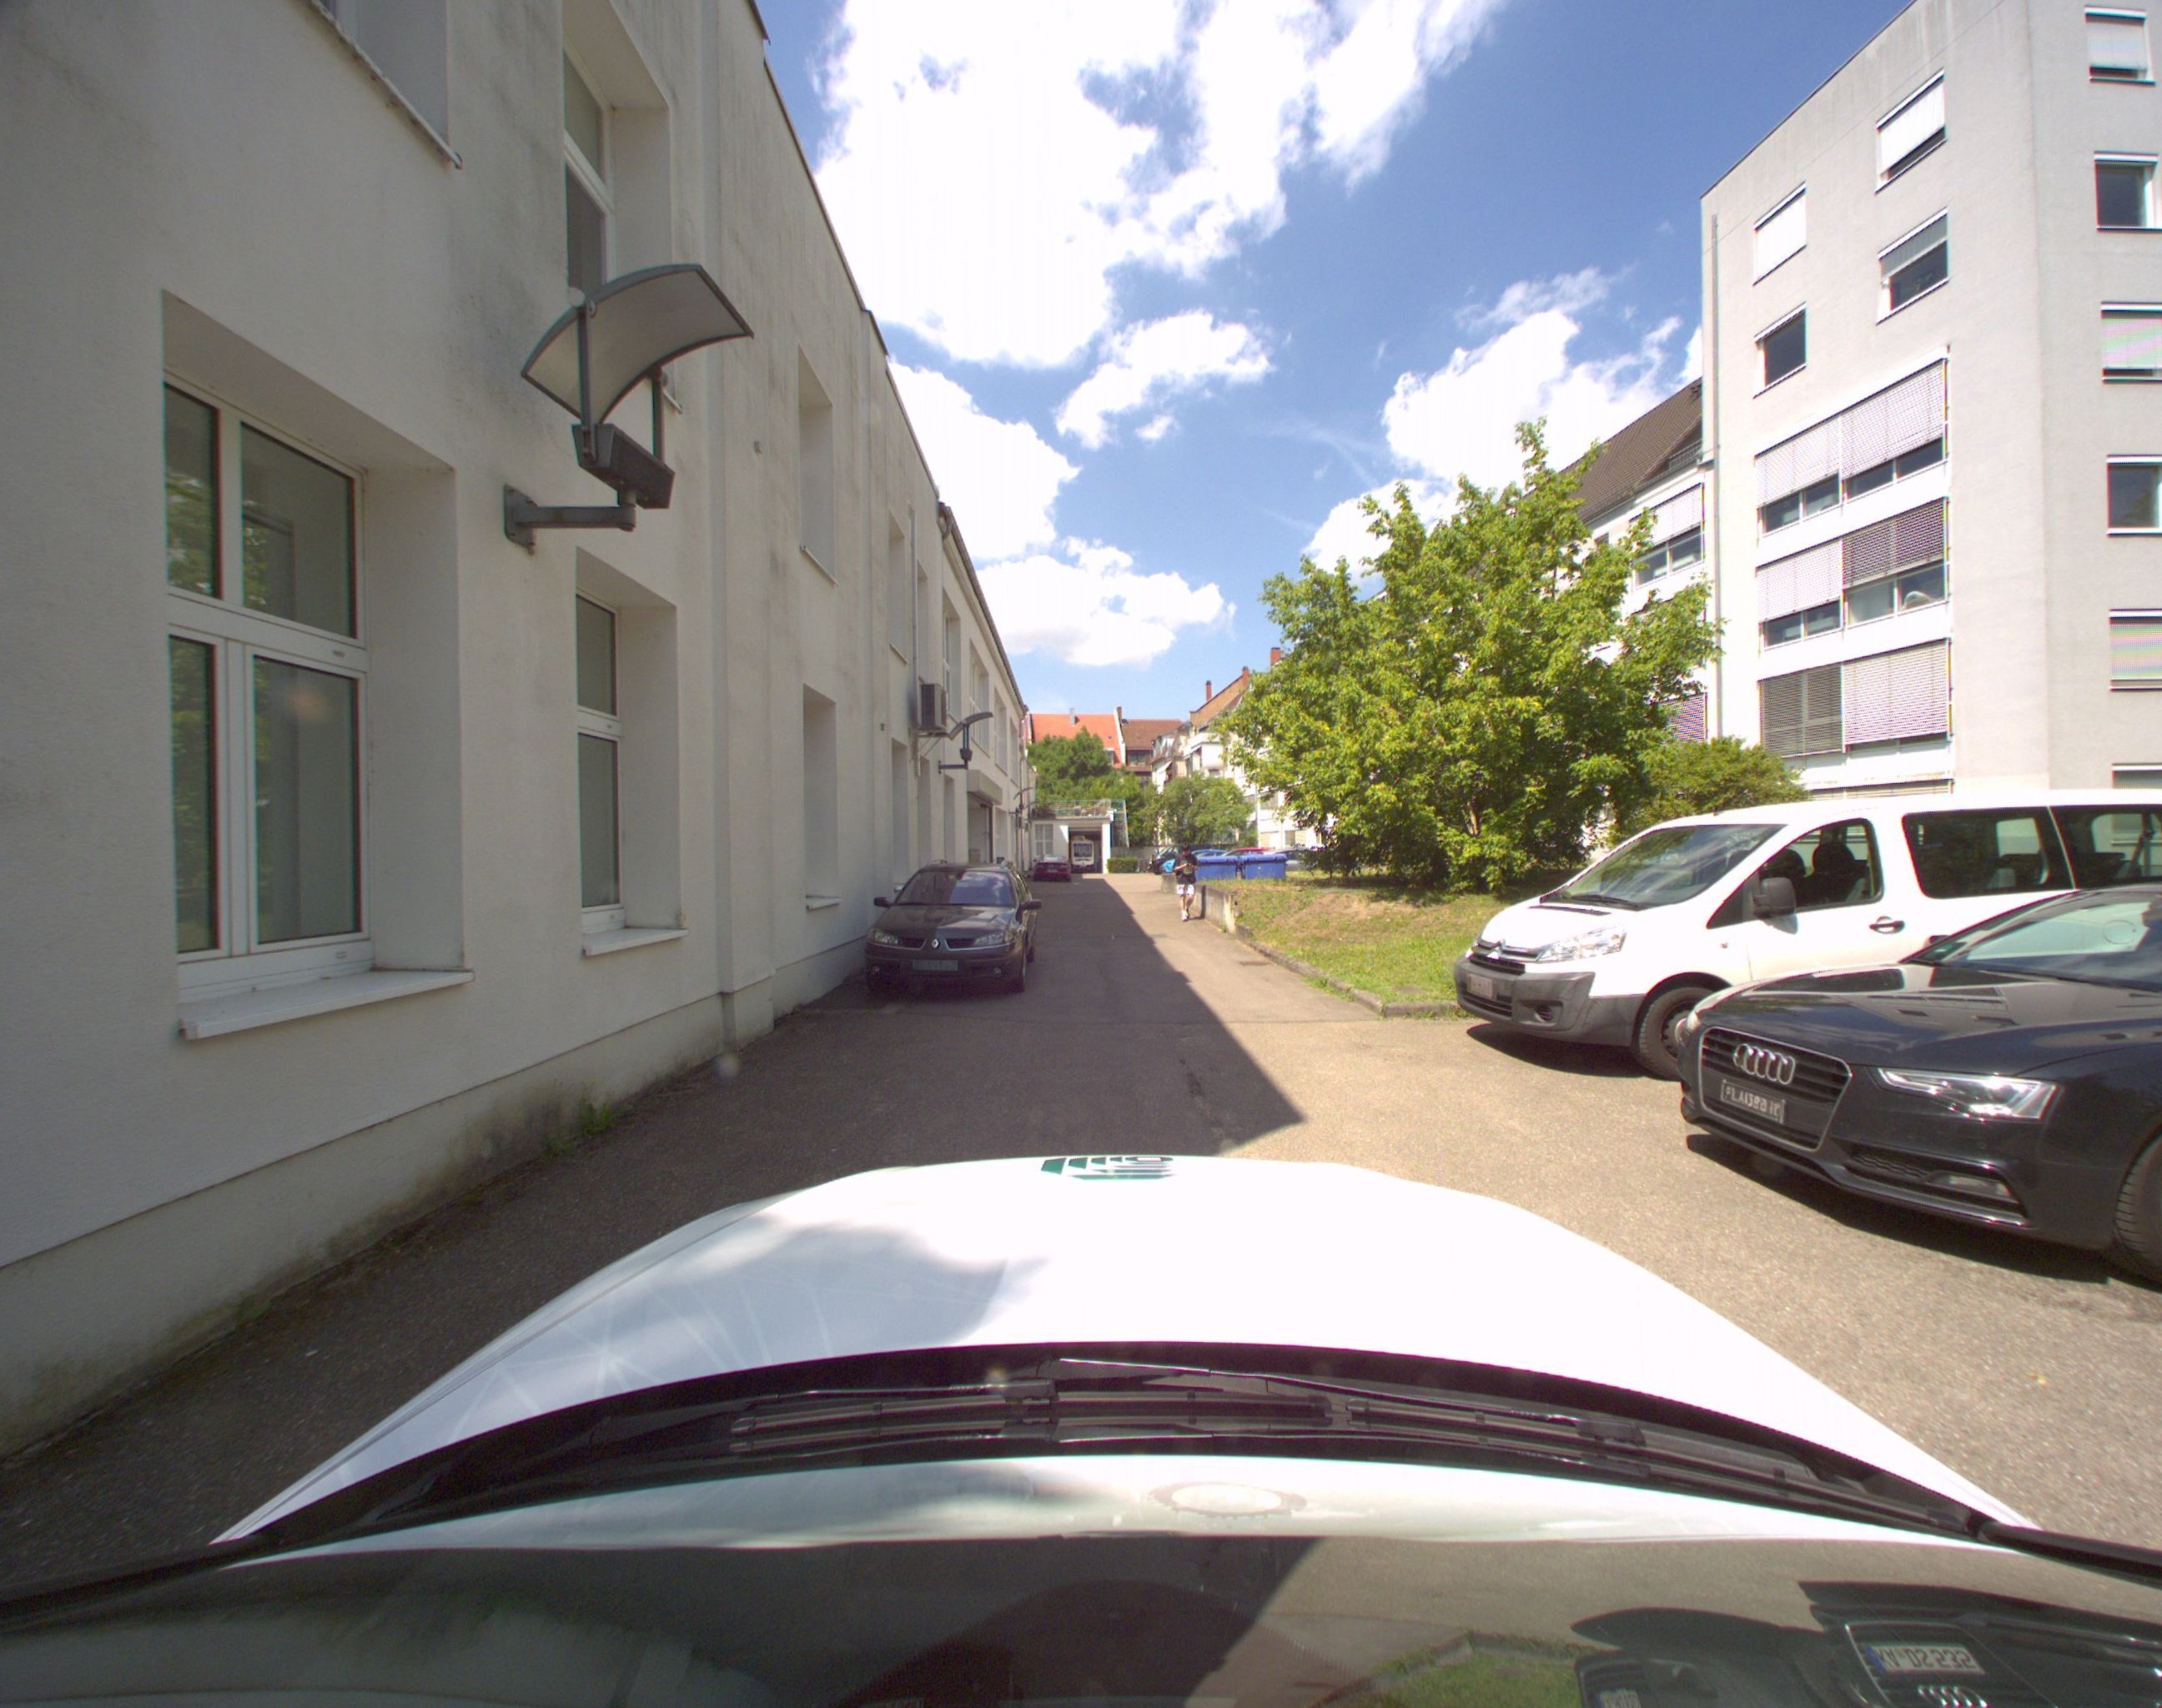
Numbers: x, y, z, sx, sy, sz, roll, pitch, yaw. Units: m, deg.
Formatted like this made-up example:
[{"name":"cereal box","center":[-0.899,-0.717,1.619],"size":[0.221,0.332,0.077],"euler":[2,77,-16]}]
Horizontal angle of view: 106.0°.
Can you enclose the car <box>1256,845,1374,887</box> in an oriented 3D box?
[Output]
[{"name":"car","center":[8.949,0.432,31.315],"size":[3.977,1.478,1.803],"euler":[-2,0,-3]}]

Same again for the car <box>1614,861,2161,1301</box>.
[{"name":"car","center":[5.262,0.741,3.641],"size":[4.597,1.352,1.833],"euler":[-1,1,-1]}]

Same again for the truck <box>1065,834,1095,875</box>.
[{"name":"truck","center":[-0.110,0.017,61.118],"size":[1.785,2.937,4.644],"euler":[-1,0,-6]}]

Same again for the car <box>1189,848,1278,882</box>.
[{"name":"car","center":[7.368,0.506,39.590],"size":[3.977,1.478,1.803],"euler":[-2,0,-3]}]

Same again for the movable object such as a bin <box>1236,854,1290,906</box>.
[{"name":"movable object such as a bin","center":[4.892,0.688,22.008],"size":[1.211,1.326,1.161],"euler":[-2,0,2]}]

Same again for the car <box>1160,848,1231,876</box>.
[{"name":"car","center":[6.885,0.474,49.201],"size":[3.977,1.534,1.803],"euler":[-2,0,-3]}]

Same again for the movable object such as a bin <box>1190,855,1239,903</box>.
[{"name":"movable object such as a bin","center":[3.878,0.701,23.715],"size":[1.189,1.326,1.159],"euler":[-2,0,-2]}]

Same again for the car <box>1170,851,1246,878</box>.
[{"name":"car","center":[7.162,0.574,46.226],"size":[3.977,1.390,1.803],"euler":[-2,0,-3]}]

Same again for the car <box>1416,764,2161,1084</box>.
[{"name":"car","center":[5.403,0.448,6.357],"size":[4.745,2.014,1.999],"euler":[-1,0,-1]}]

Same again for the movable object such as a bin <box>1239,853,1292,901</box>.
[{"name":"movable object such as a bin","center":[5.348,0.653,23.707],"size":[1.213,1.326,1.159],"euler":[-2,0,-2]}]

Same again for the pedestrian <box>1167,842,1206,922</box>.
[{"name":"pedestrian","center":[2.369,0.615,18.376],"size":[0.754,1.755,0.751],"euler":[-1,0,0]}]

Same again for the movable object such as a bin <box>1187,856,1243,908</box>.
[{"name":"movable object such as a bin","center":[3.600,0.732,21.963],"size":[1.334,1.326,1.161],"euler":[-2,0,2]}]

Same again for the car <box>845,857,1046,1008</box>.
[{"name":"car","center":[-1.468,0.807,10.432],"size":[1.749,1.430,4.387],"euler":[-1,1,1]}]

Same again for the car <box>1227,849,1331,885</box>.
[{"name":"car","center":[8.396,0.526,34.819],"size":[3.977,1.390,1.803],"euler":[-2,0,-3]}]

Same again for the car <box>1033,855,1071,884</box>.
[{"name":"car","center":[-1.464,0.767,42.087],"size":[1.793,1.390,3.998],"euler":[-2,0,-1]}]

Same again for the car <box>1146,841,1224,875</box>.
[{"name":"car","center":[6.613,0.238,52.236],"size":[4.666,1.958,2.075],"euler":[-2,0,-3]}]
